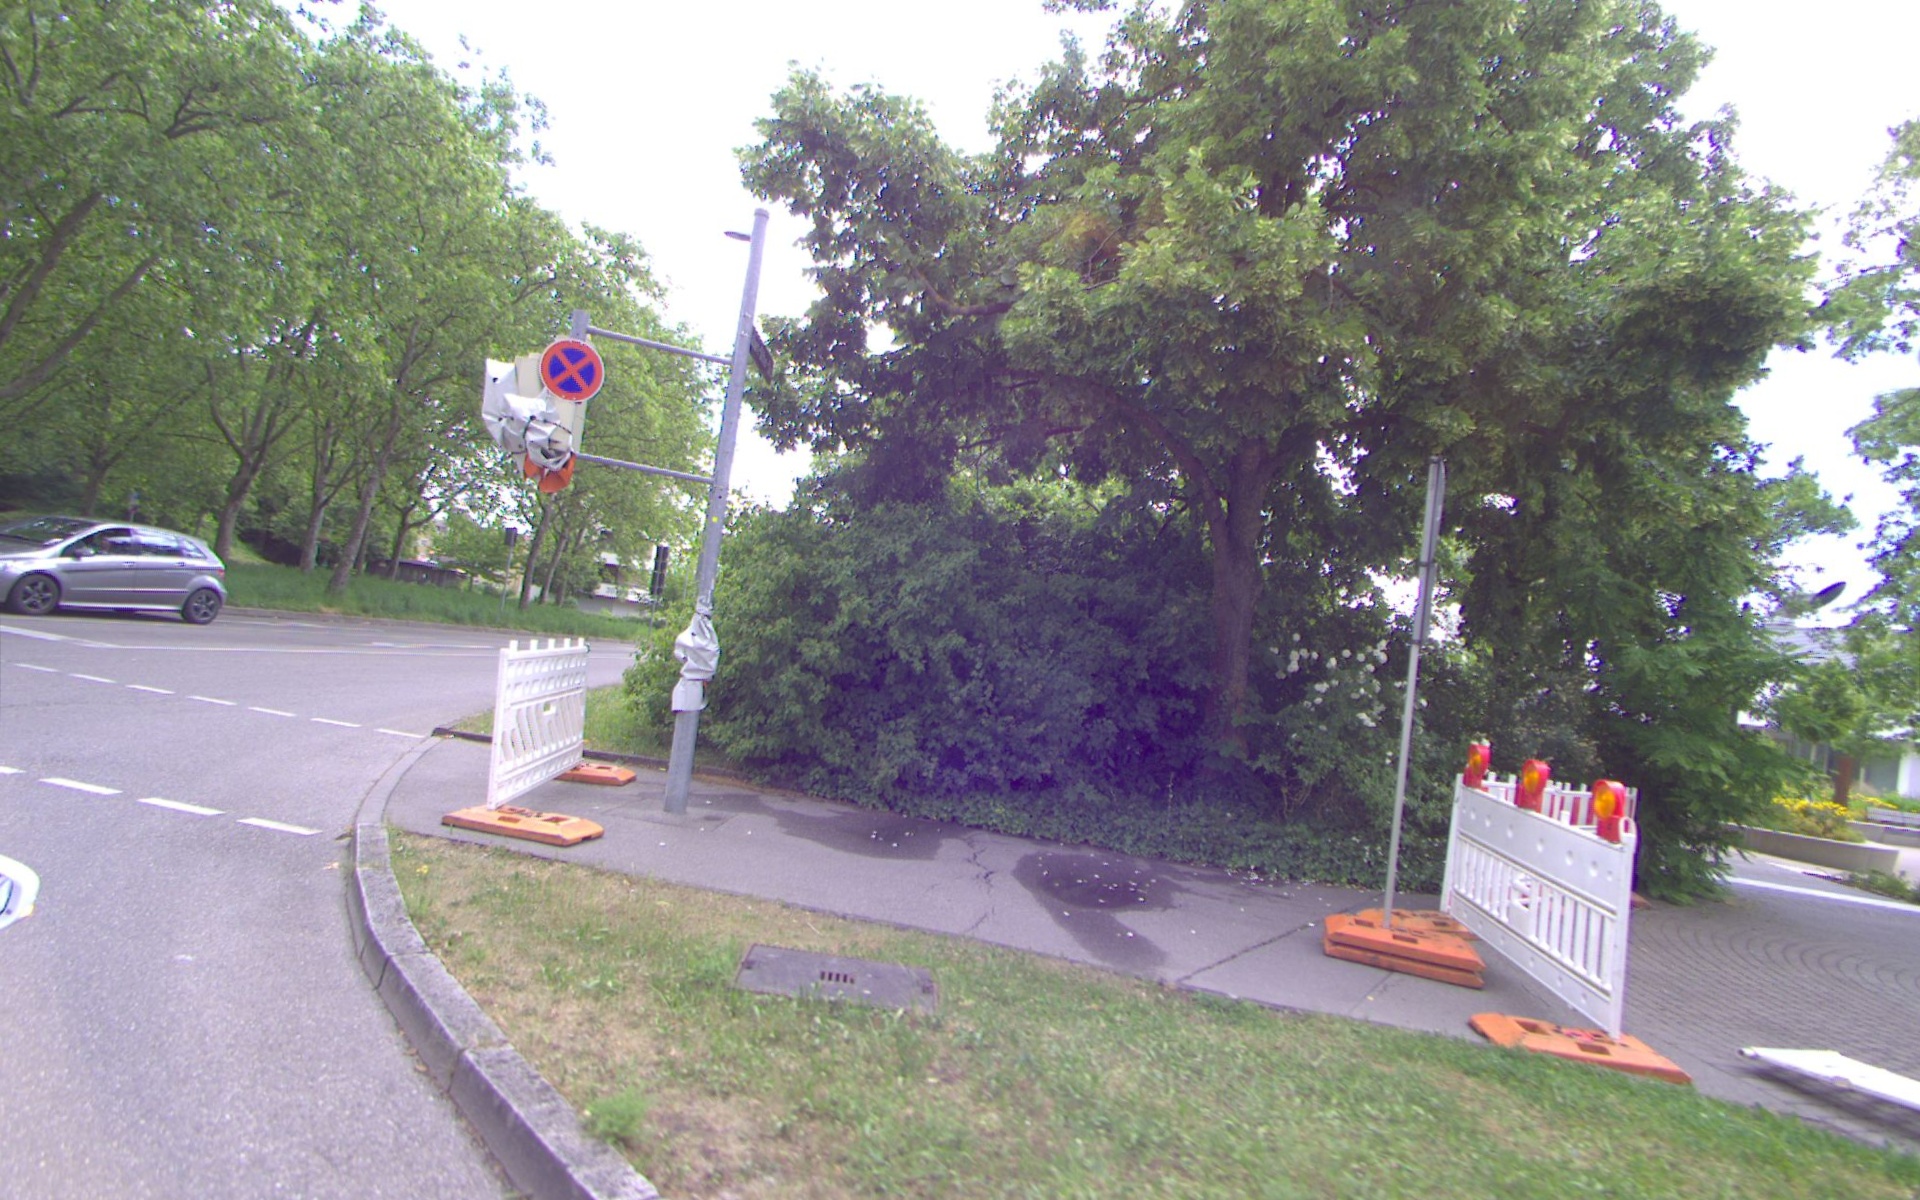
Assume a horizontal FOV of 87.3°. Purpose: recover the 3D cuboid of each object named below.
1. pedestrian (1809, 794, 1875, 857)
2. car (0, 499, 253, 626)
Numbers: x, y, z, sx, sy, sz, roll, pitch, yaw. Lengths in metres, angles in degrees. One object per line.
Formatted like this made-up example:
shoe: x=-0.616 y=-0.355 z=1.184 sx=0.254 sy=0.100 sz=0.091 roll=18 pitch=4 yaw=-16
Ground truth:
pedestrian: x=15.838 y=4.032 z=18.065 sx=0.709 sy=0.959 sz=0.742 roll=9 pitch=-2 yaw=-42
car: x=-14.263 y=-0.599 z=16.353 sx=1.739 sy=1.603 sz=4.419 roll=7 pitch=-3 yaw=11
